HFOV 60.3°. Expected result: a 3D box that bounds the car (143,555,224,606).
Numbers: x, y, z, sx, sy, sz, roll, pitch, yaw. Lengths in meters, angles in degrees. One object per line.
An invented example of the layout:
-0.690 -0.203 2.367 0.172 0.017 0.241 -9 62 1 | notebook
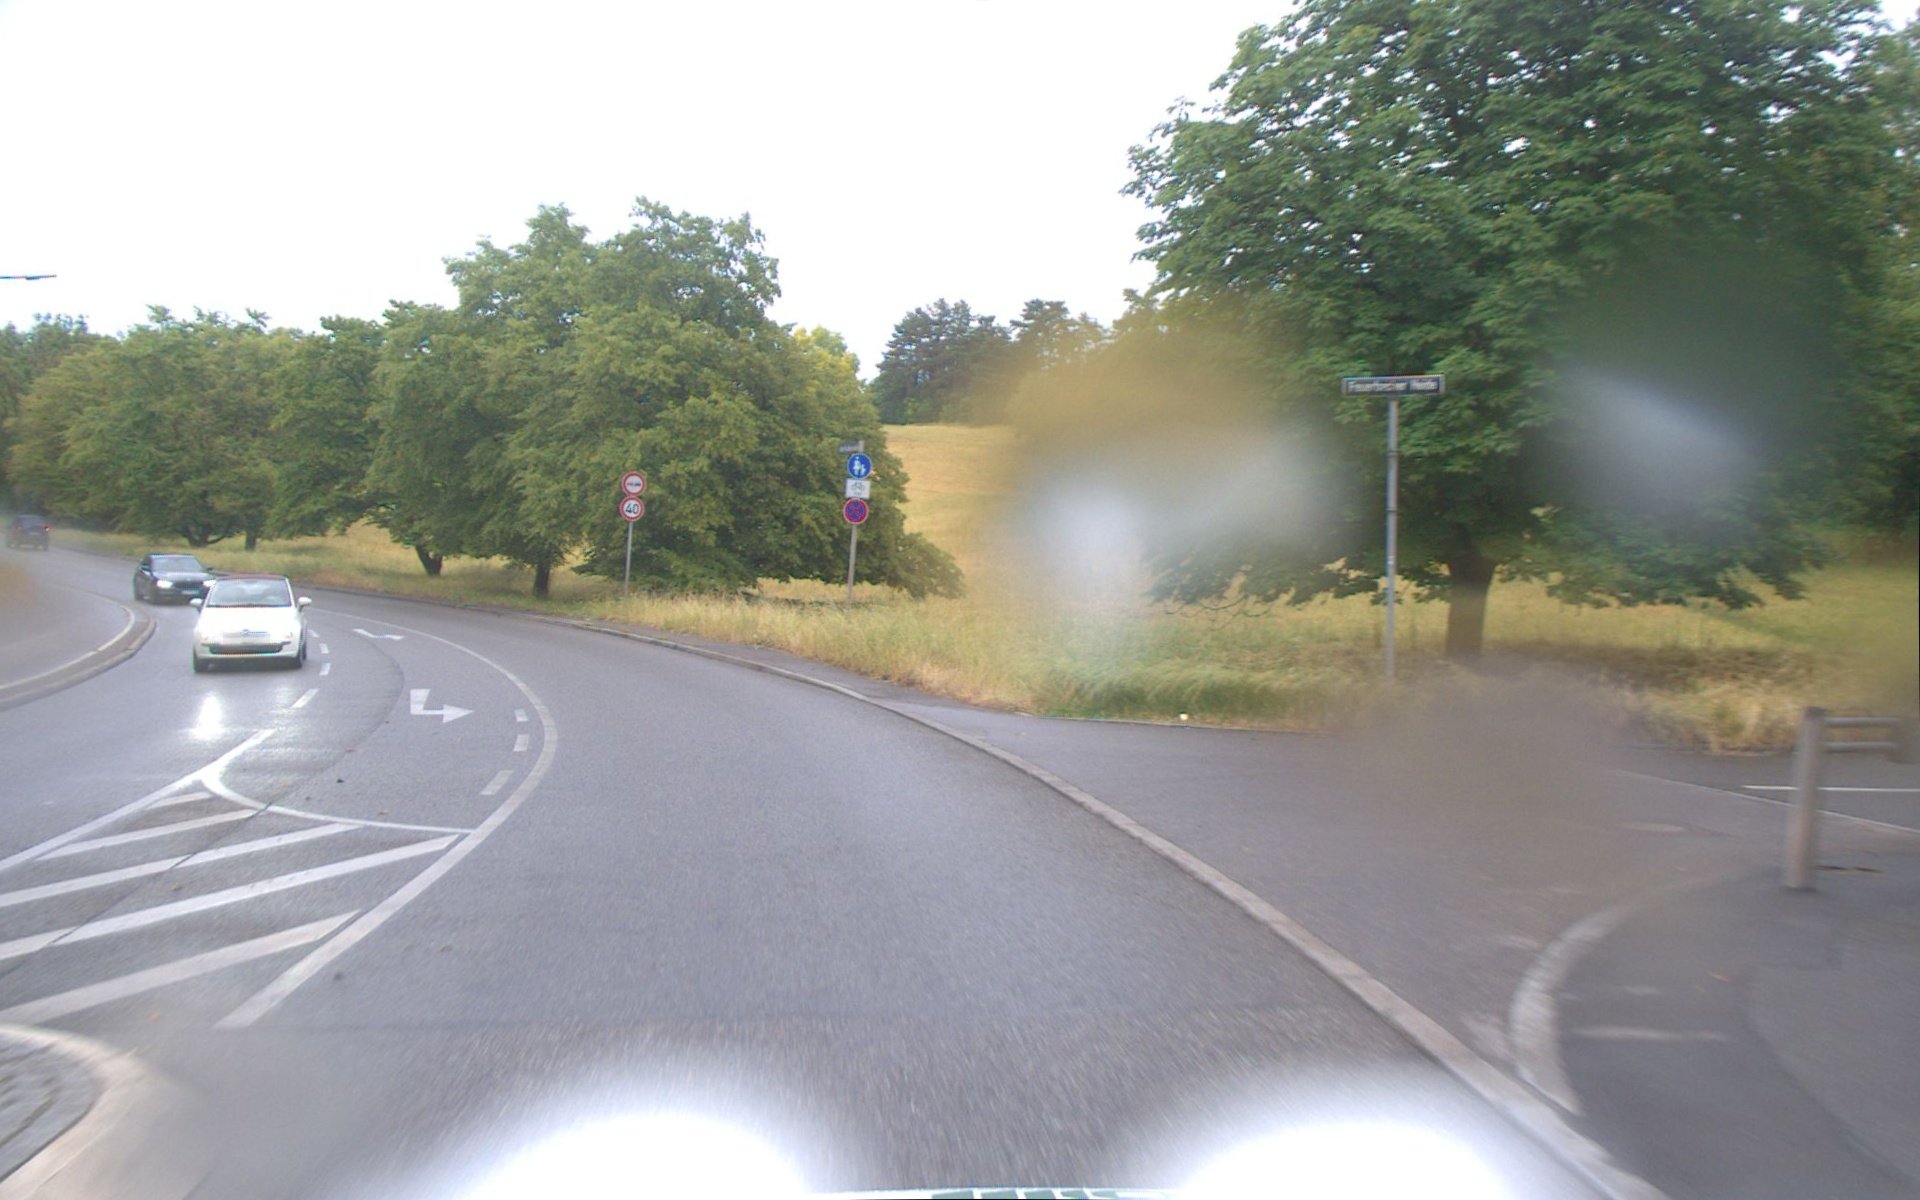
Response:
-24.570 -0.635 52.246 1.828 1.527 4.581 -2 1 -31 | car

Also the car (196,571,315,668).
-11.780 0.272 27.818 1.542 1.503 3.647 -1 1 -19 | car

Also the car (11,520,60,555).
-51.663 -3.500 92.366 1.730 1.746 3.947 4 1 -38 | car
